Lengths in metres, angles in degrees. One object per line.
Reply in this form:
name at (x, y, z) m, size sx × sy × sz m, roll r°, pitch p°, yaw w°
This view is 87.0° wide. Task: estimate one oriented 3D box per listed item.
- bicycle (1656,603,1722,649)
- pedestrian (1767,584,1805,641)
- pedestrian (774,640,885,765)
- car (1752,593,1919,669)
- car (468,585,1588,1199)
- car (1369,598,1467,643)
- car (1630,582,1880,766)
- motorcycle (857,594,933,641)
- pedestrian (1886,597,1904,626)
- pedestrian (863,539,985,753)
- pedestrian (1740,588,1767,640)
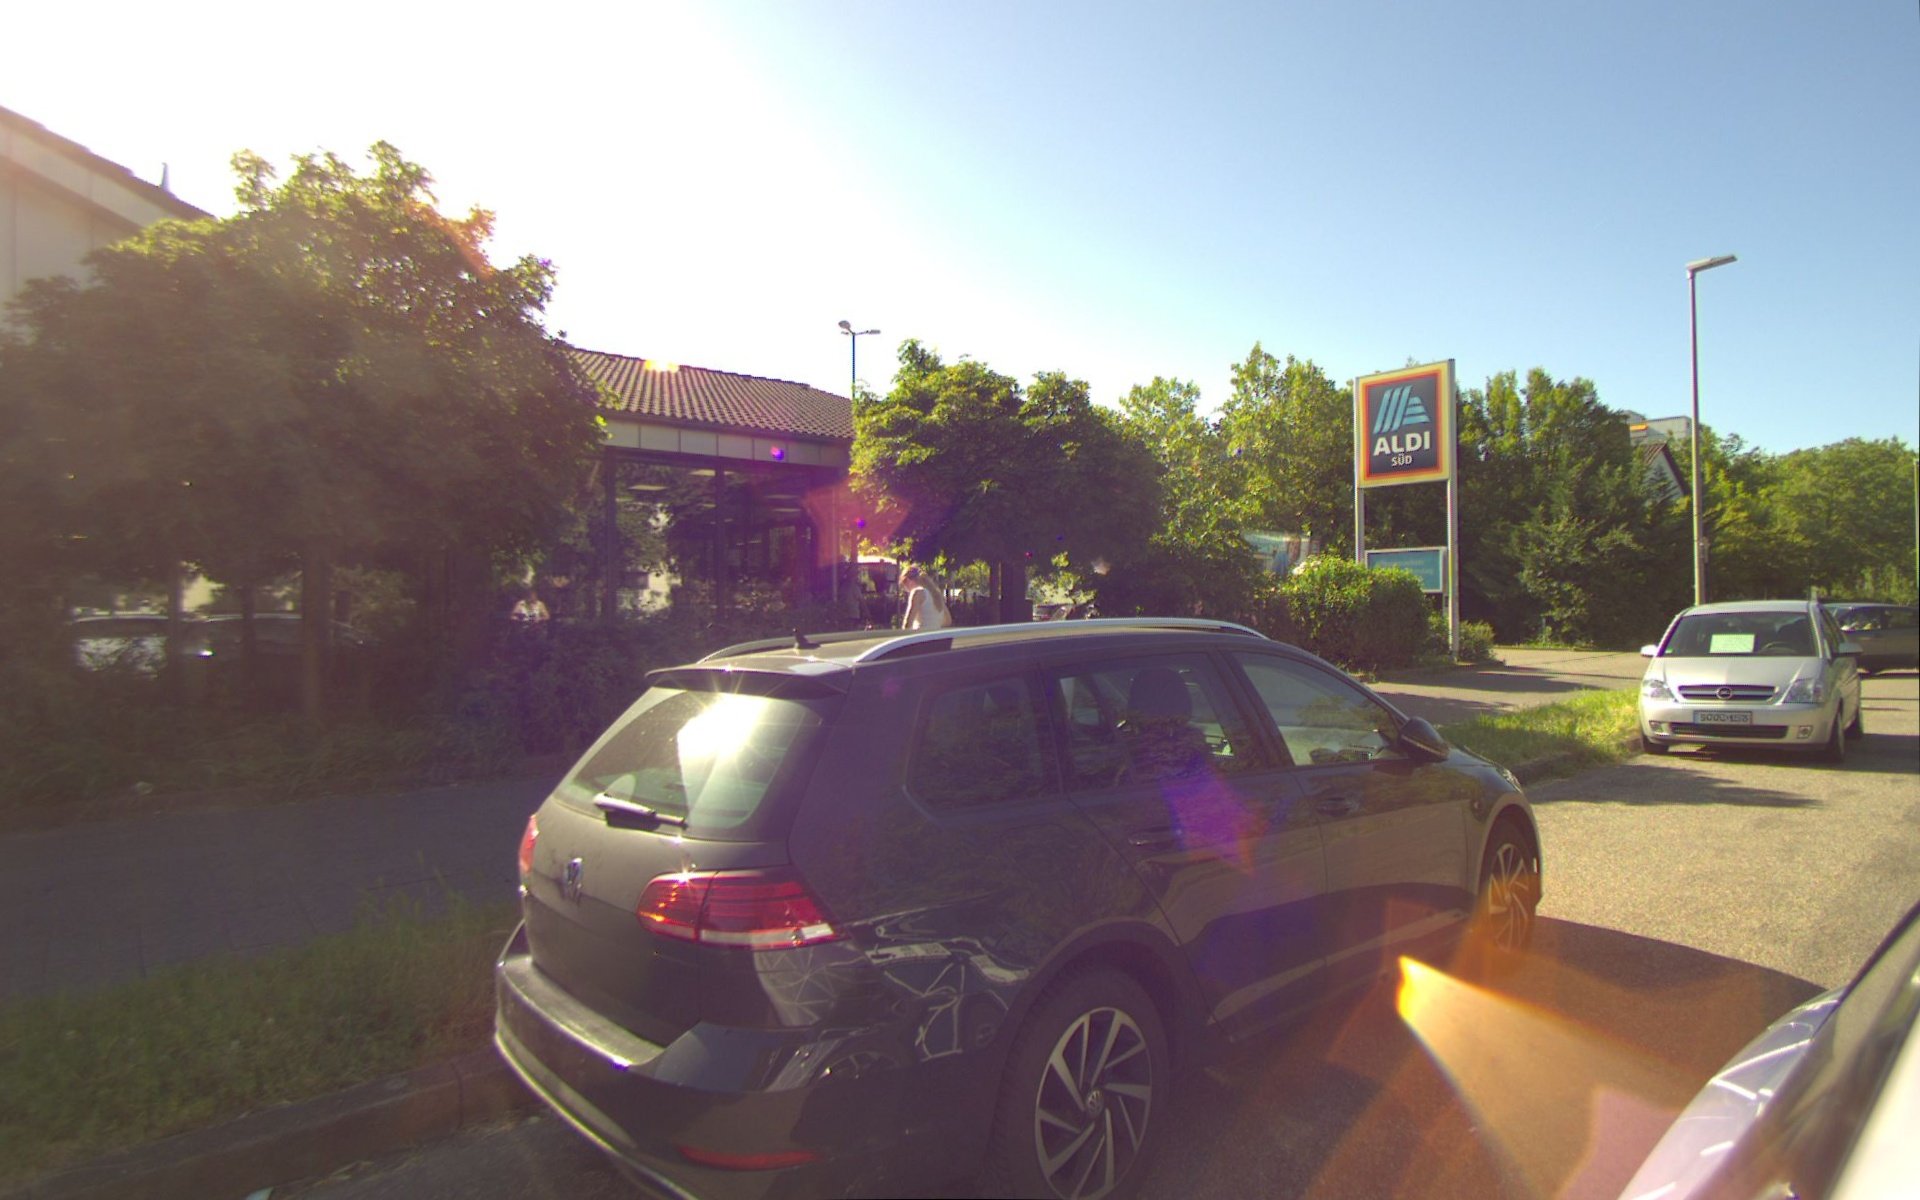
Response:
bicycle at (21.061, 0.740, 29.225) m, size 1.857 × 1.236 × 0.724 m, roll -1°, pitch 2°, yaw -25°
pedestrian at (26.083, 0.371, 31.960) m, size 0.968 × 1.738 × 0.804 m, roll -2°, pitch 2°, yaw -45°
pedestrian at (-1.133, 0.858, 8.779) m, size 0.794 × 0.993 × 0.534 m, roll 0°, pitch -1°, yaw -33°
car at (20.640, 0.678, 23.017) m, size 3.688 × 1.666 × 1.854 m, roll 0°, pitch 0°, yaw 4°
car at (0.654, 0.712, 3.898) m, size 4.287 × 1.462 × 1.810 m, roll 0°, pitch -1°, yaw -41°
car at (16.150, 0.691, 35.610) m, size 3.736 × 1.522 × 1.775 m, roll 0°, pitch -1°, yaw -41°
car at (8.925, 0.671, 11.237) m, size 3.963 × 1.619 × 1.680 m, roll -2°, pitch 0°, yaw -45°
motorcycle at (-2.186, 0.580, 34.232) m, size 2.552 × 1.528 × 0.871 m, roll 0°, pitch -1°, yaw -41°
pedestrian at (53.679, 0.647, 58.079) m, size 0.629 × 1.659 × 0.641 m, roll 0°, pitch -1°, yaw -38°
pedestrian at (-0.328, 0.388, 9.062) m, size 0.793 × 1.804 × 0.801 m, roll 0°, pitch -1°, yaw -33°
pedestrian at (25.554, 0.436, 32.594) m, size 0.780 × 1.629 × 0.573 m, roll -2°, pitch 2°, yaw -45°
